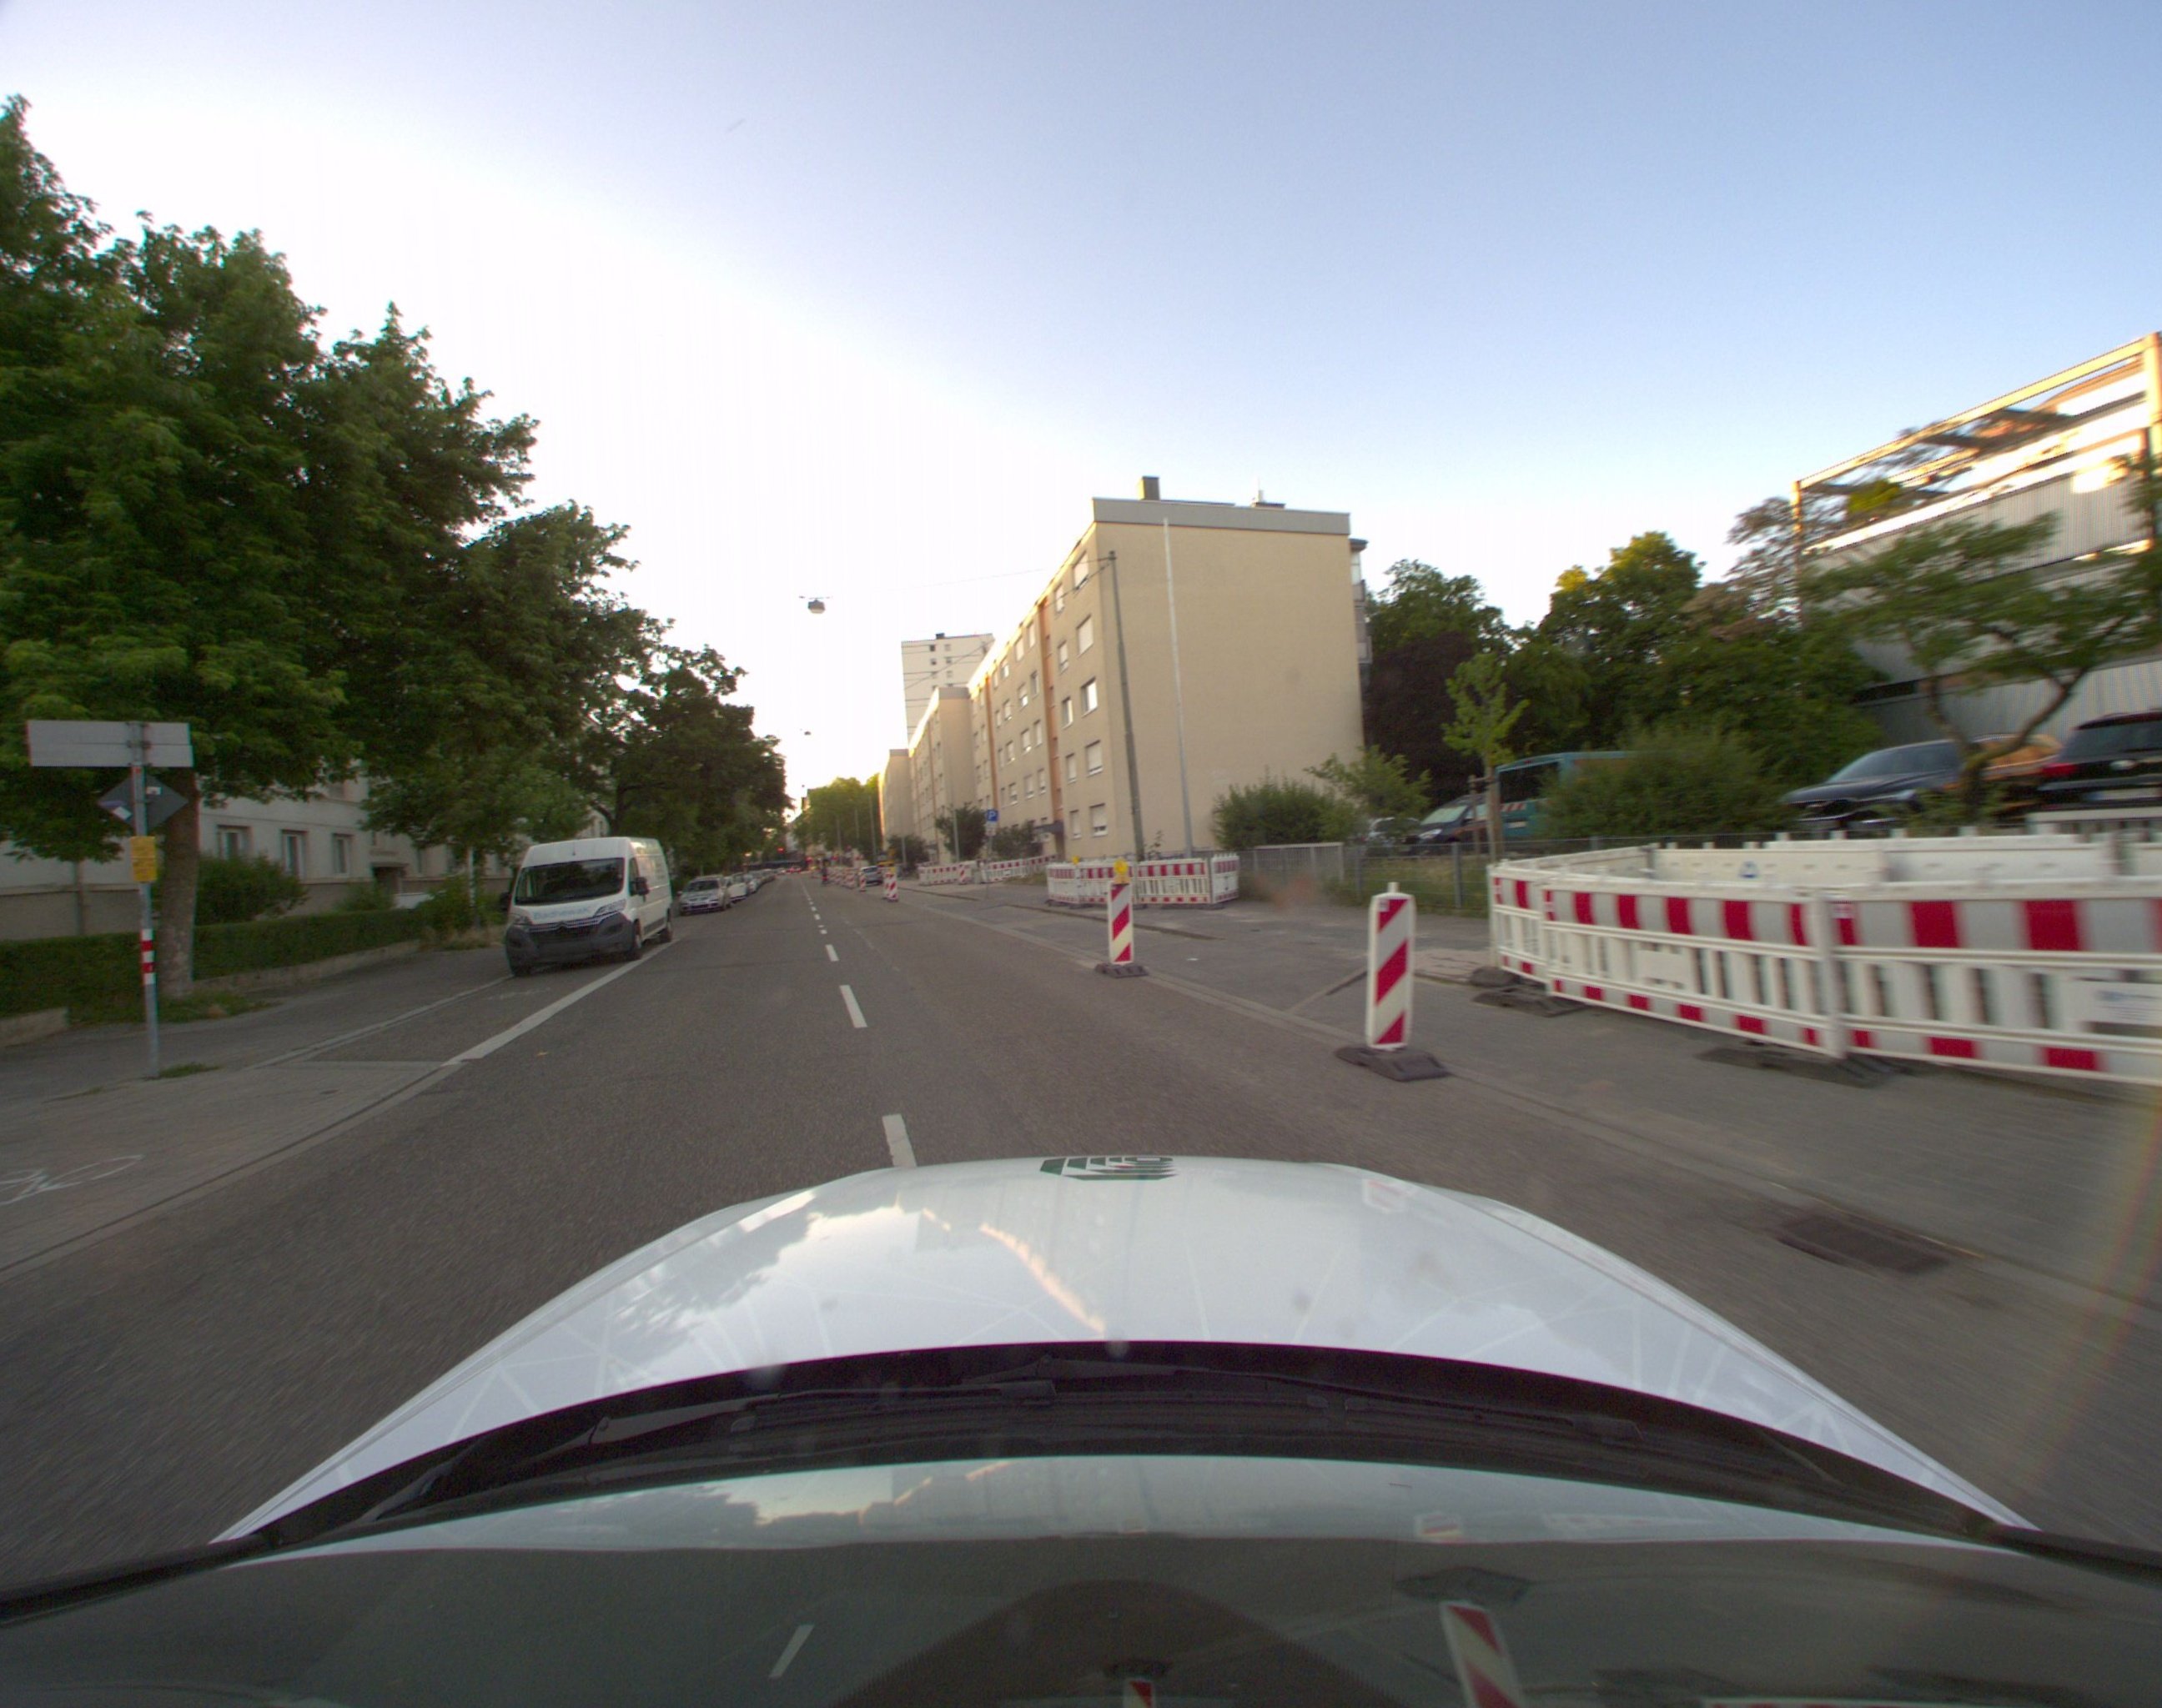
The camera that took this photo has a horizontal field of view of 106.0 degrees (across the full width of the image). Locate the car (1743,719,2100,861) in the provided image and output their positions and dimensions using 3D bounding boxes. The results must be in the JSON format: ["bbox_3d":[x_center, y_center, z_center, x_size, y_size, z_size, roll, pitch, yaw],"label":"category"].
[{"bbox_3d":[12.579,-0.935,12.251,4.299,1.727,1.988,-5,0,-18],"label":"car"}]

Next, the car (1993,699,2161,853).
[{"bbox_3d":[13.898,-1.037,10.071,3.998,1.692,1.988,-5,0,-18],"label":"car"}]

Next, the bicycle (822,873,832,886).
[{"bbox_3d":[-22.701,2.284,72.702,0.643,1.115,3.035,-4,0,-19],"label":"bicycle"}]

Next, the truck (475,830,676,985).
[{"bbox_3d":[-10.039,0.943,16.814,2.109,2.422,6.005,-6,1,-20],"label":"truck"}]

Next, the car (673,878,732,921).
[{"bbox_3d":[-16.179,1.897,34.986,1.762,1.483,3.902,-7,1,-19],"label":"car"}]

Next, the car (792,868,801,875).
[{"bbox_3d":[-65.845,4.119,188.357,1.702,1.442,3.427,-7,1,-23],"label":"car"}]

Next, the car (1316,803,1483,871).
[{"bbox_3d":[9.468,-0.502,24.283,4.222,1.647,1.989,-4,0,-16],"label":"car"}]

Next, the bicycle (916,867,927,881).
[{"bbox_3d":[-13.537,1.704,69.248,0.619,1.106,2.221,-4,0,-17],"label":"bicycle"}]

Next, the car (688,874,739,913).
[{"bbox_3d":[-18.146,1.893,40.380,1.762,1.603,3.902,-7,1,-19],"label":"car"}]

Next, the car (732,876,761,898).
[{"bbox_3d":[-26.096,2.580,63.581,1.762,1.442,3.431,-7,1,-19],"label":"car"}]

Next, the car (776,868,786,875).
[{"bbox_3d":[-66.546,3.881,180.507,1.763,1.442,3.429,-7,1,-21],"label":"car"}]

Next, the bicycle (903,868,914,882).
[{"bbox_3d":[-14.620,1.752,69.010,0.619,1.106,2.221,-4,0,-17],"label":"bicycle"}]

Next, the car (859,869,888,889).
[{"bbox_3d":[-16.146,1.916,63.204,1.785,1.390,3.973,-4,0,-19],"label":"car"}]

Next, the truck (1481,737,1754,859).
[{"bbox_3d":[11.062,-1.123,16.926,4.502,2.090,2.103,-4,0,-13],"label":"truck"}]

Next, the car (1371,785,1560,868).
[{"bbox_3d":[10.192,-0.715,21.669,4.222,1.826,1.989,-4,0,-16],"label":"car"}]

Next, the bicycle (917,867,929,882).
[{"bbox_3d":[-12.325,1.600,63.601,0.619,1.106,2.221,-4,0,-17],"label":"bicycle"}]

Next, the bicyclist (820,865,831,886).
[{"bbox_3d":[-23.032,1.926,73.329,0.794,1.800,1.010,-4,0,-19],"label":"bicyclist"}]
